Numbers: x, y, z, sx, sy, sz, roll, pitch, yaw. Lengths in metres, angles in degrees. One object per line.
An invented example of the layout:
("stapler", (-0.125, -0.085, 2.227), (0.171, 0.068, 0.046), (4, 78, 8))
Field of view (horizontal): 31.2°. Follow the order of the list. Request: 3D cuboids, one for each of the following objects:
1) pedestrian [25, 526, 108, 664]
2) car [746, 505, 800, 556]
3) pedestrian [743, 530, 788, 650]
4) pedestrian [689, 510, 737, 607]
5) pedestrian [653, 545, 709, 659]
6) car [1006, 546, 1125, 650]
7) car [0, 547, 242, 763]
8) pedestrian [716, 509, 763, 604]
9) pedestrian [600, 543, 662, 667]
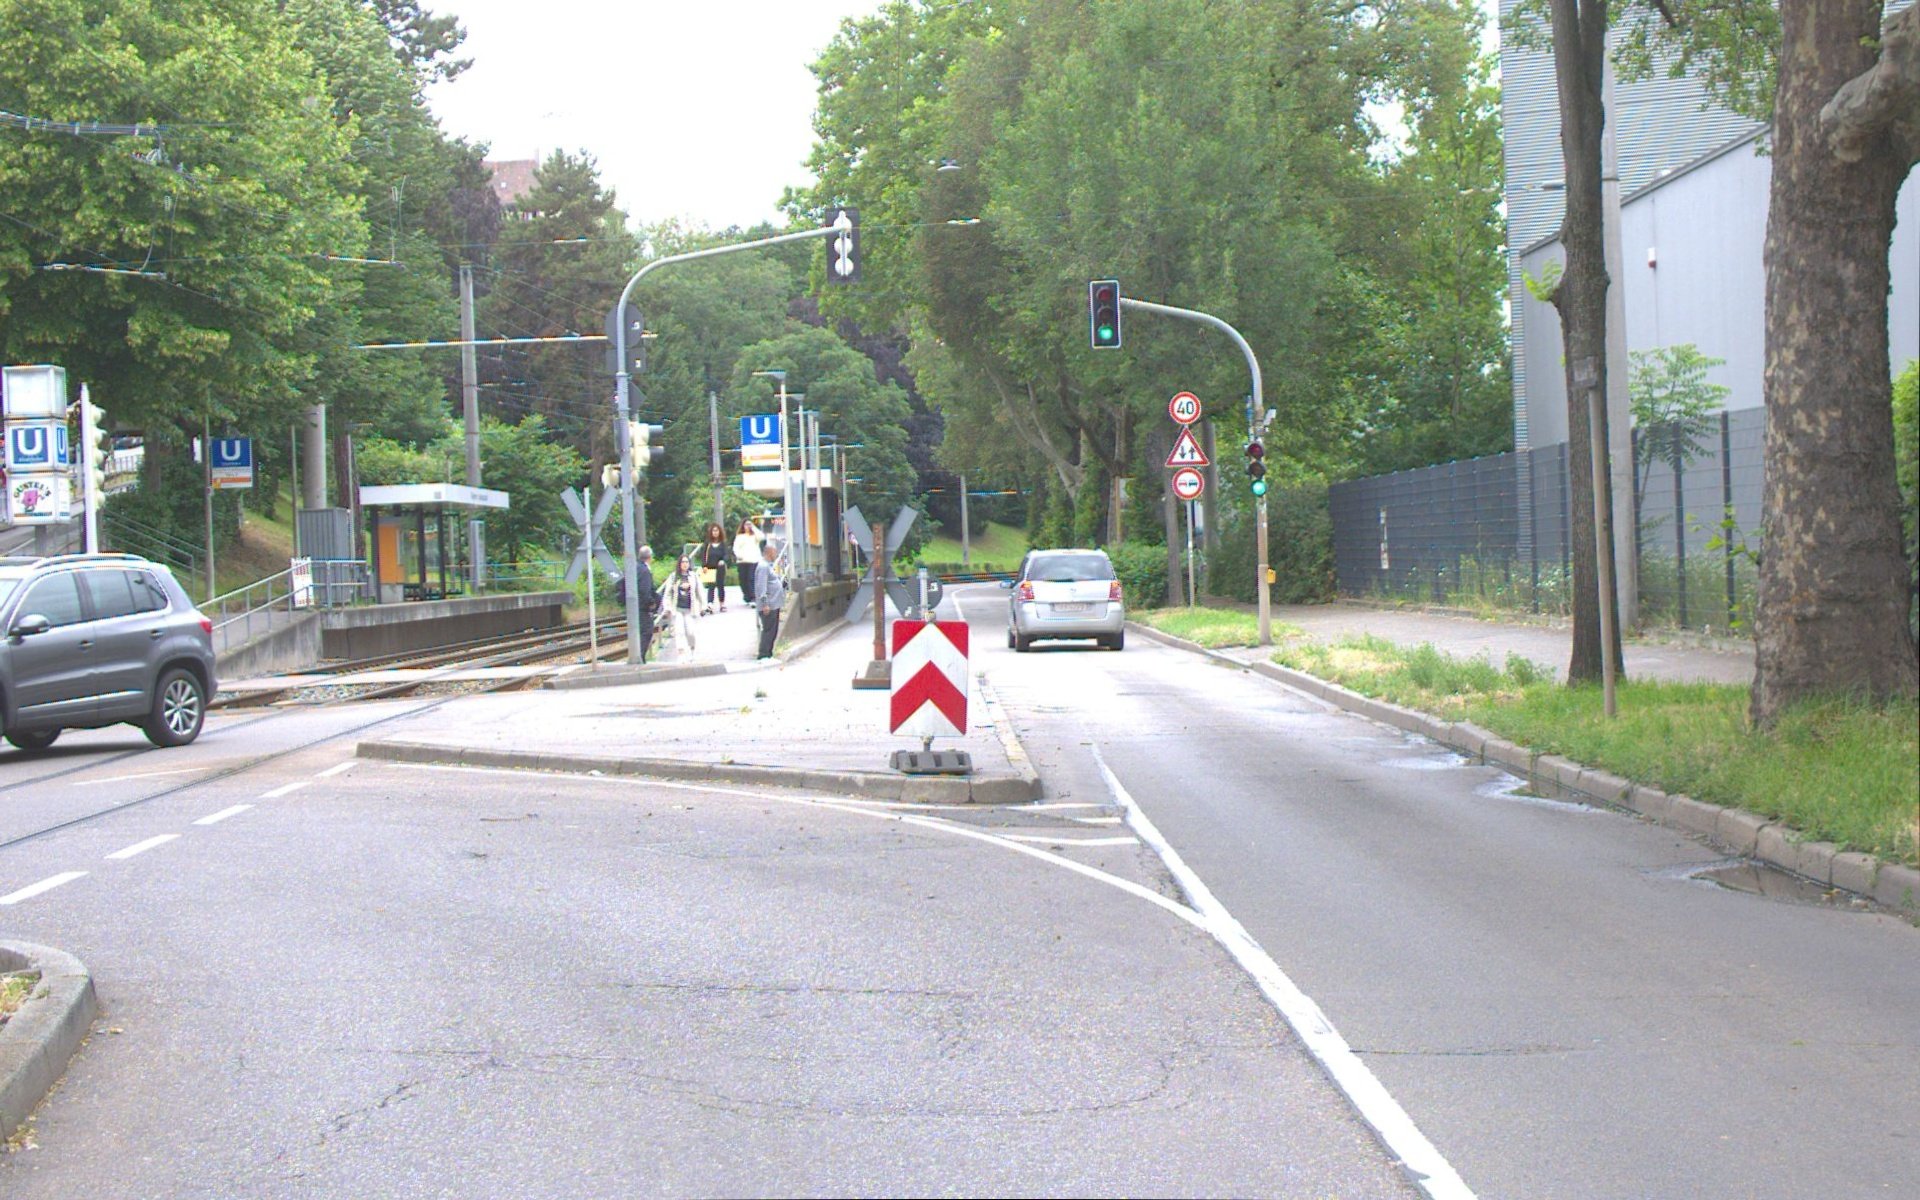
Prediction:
("pedestrian", (-11.912, -0.065, 45.832), (0.669, 1.815, 0.803), (1, 0, 33))
("car", (-7.632, -2.828, 140.350), (1.993, 2.007, 4.000), (1, 1, -1))
("pedestrian", (-2.868, -0.154, 50.791), (0.550, 1.752, 0.737), (1, 0, 4))
("pedestrian", (-4.299, -0.718, 59.717), (0.735, 1.659, 0.682), (1, 0, -11))
("pedestrian", (-4.100, 0.029, 50.462), (0.735, 1.659, 0.682), (1, 0, -10))
("car", (1.673, -0.051, 55.619), (1.743, 1.593, 4.000), (1, 1, -1))
("car", (-8.132, 0.474, 28.653), (1.903, 1.712, 4.130), (-3, 0, 29))
("pedestrian", (-3.890, -0.761, 60.665), (0.735, 1.659, 0.682), (1, 0, -11))
("pedestrian", (-4.455, 0.062, 46.563), (0.735, 1.659, 0.682), (1, 0, 1))
